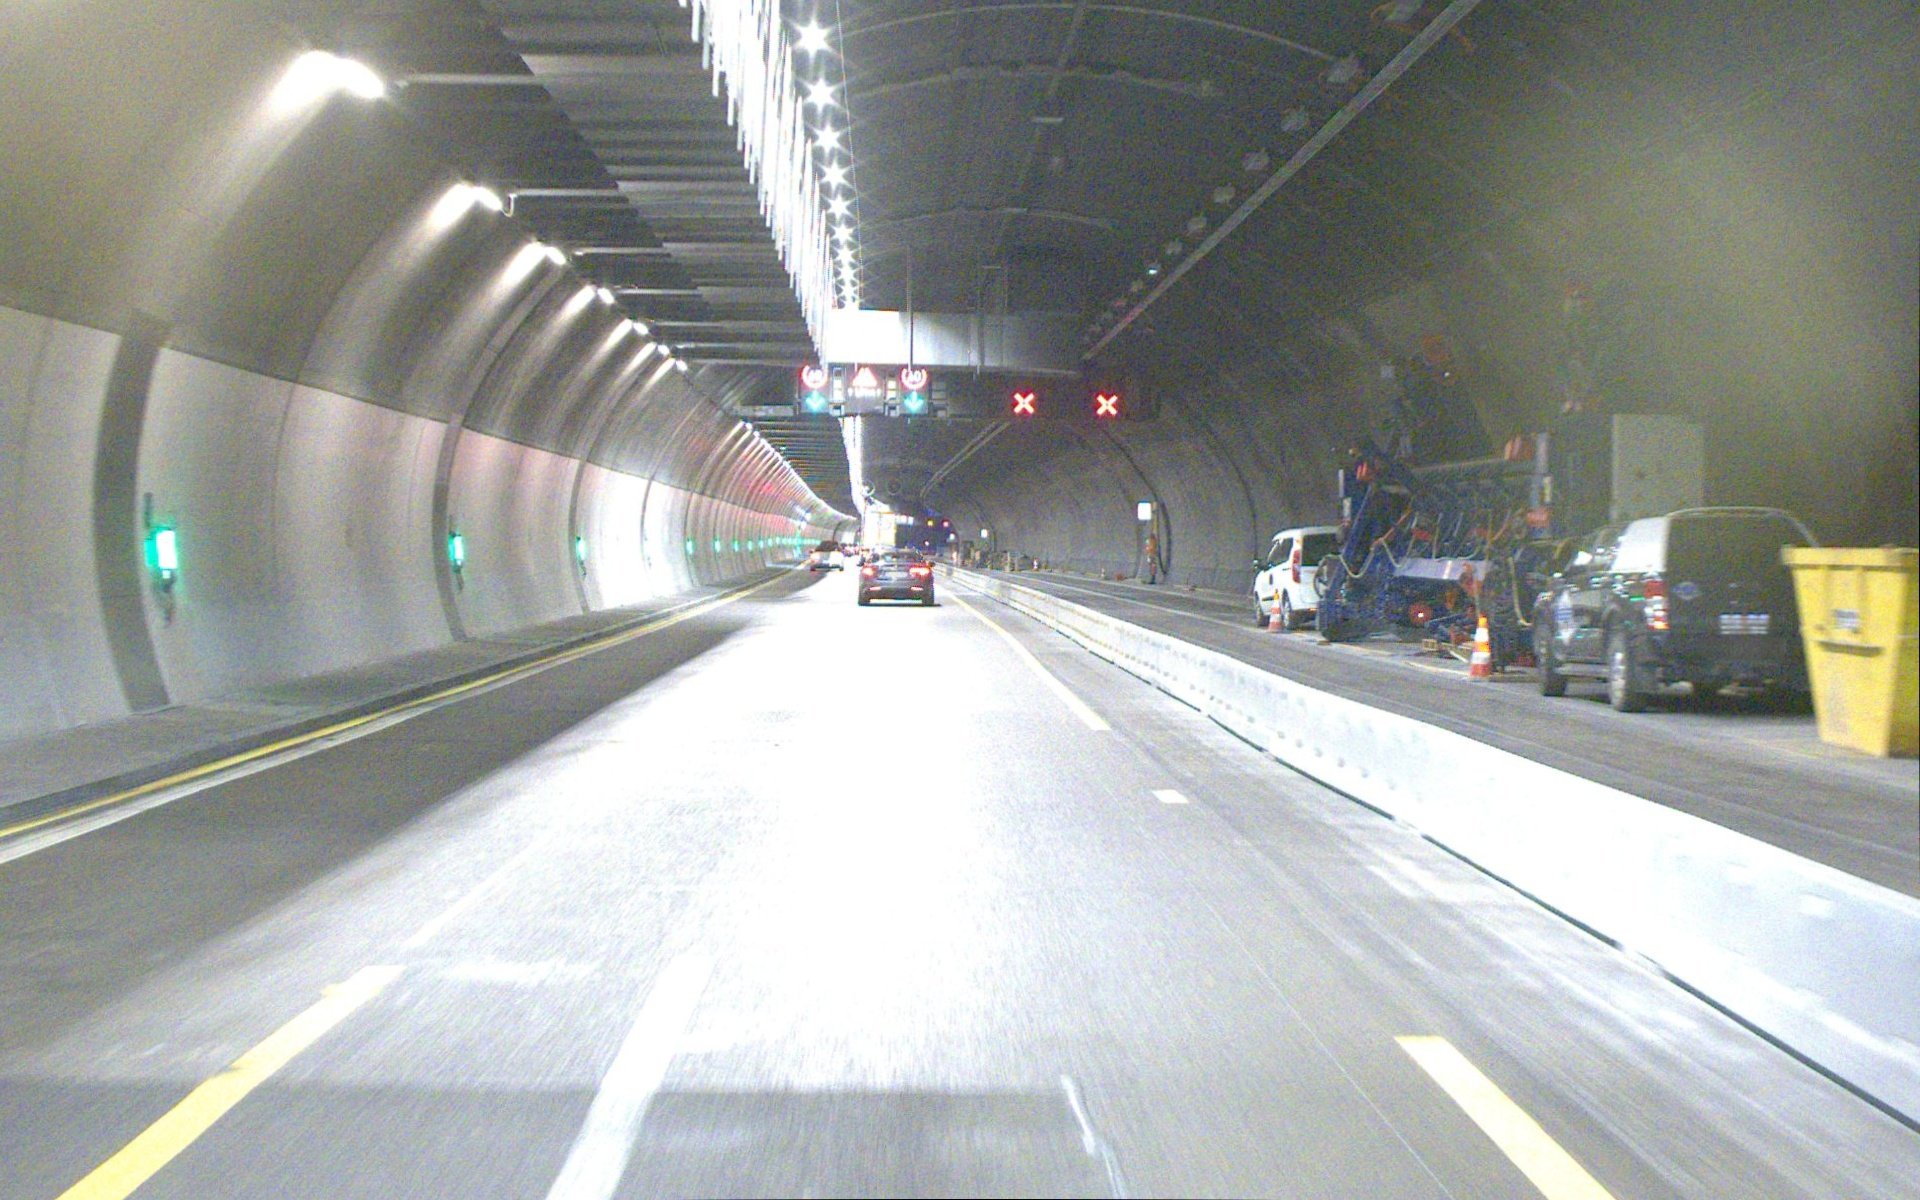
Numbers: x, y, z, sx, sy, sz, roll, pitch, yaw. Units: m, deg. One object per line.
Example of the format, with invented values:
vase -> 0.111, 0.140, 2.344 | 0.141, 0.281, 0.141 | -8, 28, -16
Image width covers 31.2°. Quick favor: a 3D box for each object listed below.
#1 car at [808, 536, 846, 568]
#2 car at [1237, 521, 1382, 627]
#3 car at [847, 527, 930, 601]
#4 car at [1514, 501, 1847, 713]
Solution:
car -> -7.178, -2.588, 185.811 | 1.930, 1.681, 4.000 | 0, 1, -1
car -> 6.363, -0.510, 63.020 | 1.750, 1.839, 4.647 | -1, 1, -6
car -> -1.805, -0.924, 85.964 | 1.946, 1.788, 4.001 | 0, 1, -3
car -> 6.793, 0.010, 33.047 | 1.827, 1.852, 5.442 | 1, 1, -2
